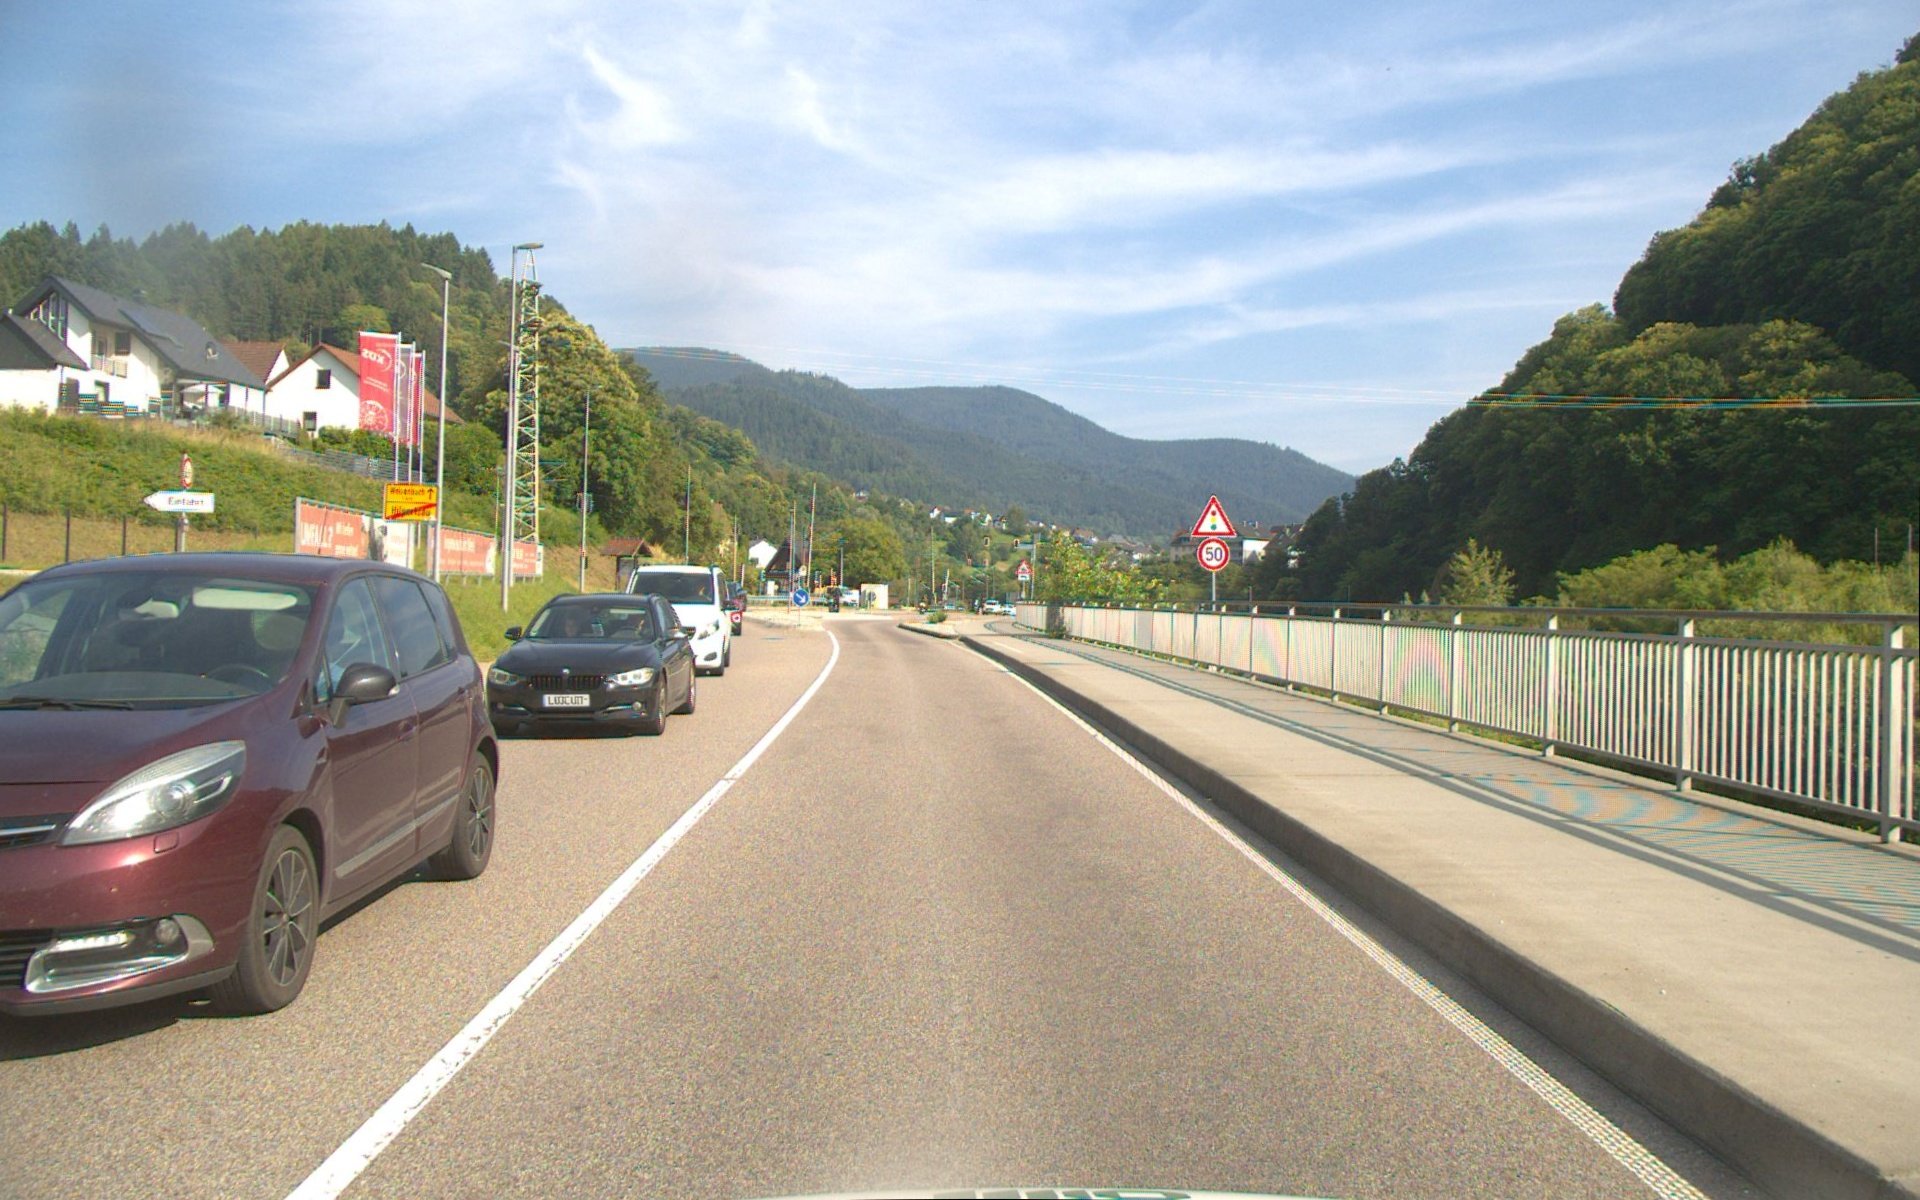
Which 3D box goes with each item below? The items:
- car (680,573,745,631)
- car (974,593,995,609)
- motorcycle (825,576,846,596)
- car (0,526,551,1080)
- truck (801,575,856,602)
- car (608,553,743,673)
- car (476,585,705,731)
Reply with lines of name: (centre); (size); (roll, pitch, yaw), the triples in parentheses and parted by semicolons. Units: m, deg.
car: (-7.379, 0.036, 49.560); (1.673, 1.611, 4.153); (2, 0, -6)
car: (2.883, 0.084, 190.372); (1.726, 1.588, 4.002); (0, -4, 11)
motorcycle: (-8.018, -0.893, 106.345); (0.880, 1.204, 2.297); (2, 1, -15)
car: (-3.184, 0.574, 7.135); (1.760, 1.646, 4.462); (0, 1, -1)
truck: (-13.378, -1.156, 167.536); (5.899, 2.305, 1.988); (5, 3, 42)
car: (-5.011, 0.208, 29.805); (1.859, 1.920, 5.291); (1, 0, -4)
car: (-3.934, 0.551, 18.263); (1.738, 1.423, 4.232); (0, 0, -2)
